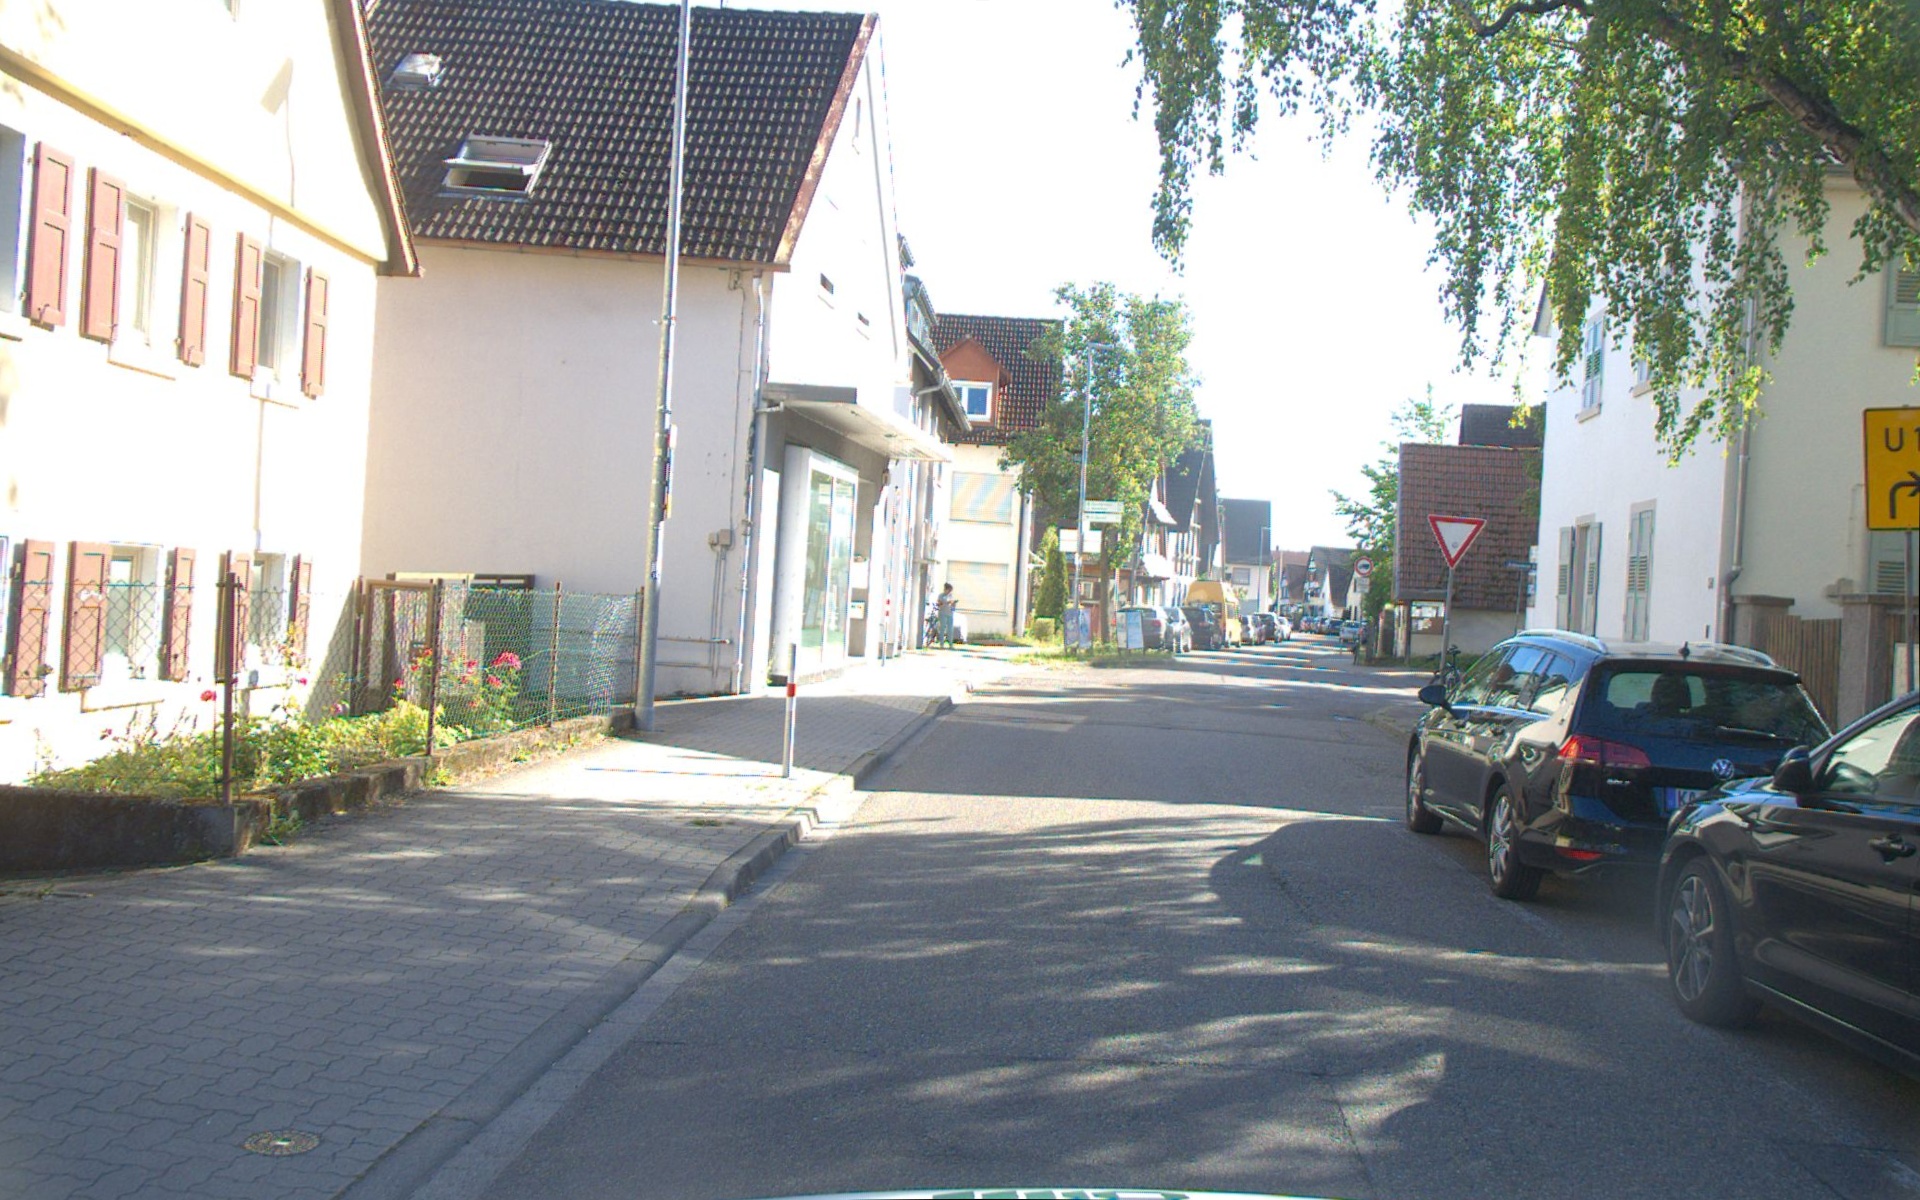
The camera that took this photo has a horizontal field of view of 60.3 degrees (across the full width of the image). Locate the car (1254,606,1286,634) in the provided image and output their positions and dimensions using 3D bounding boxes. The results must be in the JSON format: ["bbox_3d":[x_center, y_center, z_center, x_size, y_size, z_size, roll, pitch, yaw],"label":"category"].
[{"bbox_3d":[17.371,1.116,92.602,1.554,1.467,3.617,4,0,12],"label":"car"}]

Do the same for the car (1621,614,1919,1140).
[{"bbox_3d":[3.697,0.876,4.992,1.770,1.461,4.287,3,1,2],"label":"car"}]

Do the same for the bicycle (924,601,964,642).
[{"bbox_3d":[-0.426,0.602,45.014,0.566,1.070,2.037,3,-1,13],"label":"bicycle"}]

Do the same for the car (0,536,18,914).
[{"bbox_3d":[-5.808,0.475,5.667,4.073,1.487,1.848,1,1,0],"label":"car"}]

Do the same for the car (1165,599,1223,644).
[{"bbox_3d":[9.353,0.861,65.832,1.768,1.650,3.883,3,0,15],"label":"car"}]

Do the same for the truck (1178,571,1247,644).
[{"bbox_3d":[10.930,0.354,71.187,2.220,2.918,5.786,3,0,15],"label":"truck"}]

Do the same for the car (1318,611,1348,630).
[{"bbox_3d":[35.482,1.965,157.378,1.933,1.610,3.995,4,0,1],"label":"car"}]

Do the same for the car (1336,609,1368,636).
[{"bbox_3d":[27.337,1.564,115.371,1.931,1.743,3.998,4,0,12],"label":"car"}]

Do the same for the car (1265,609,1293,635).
[{"bbox_3d":[19.239,1.322,99.633,1.554,1.467,3.617,4,0,12],"label":"car"}]

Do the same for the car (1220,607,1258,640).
[{"bbox_3d":[13.495,1.123,79.857,1.610,1.457,3.617,4,0,12],"label":"car"}]

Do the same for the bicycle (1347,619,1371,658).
[{"bbox_3d":[12.838,1.224,53.233,0.424,1.197,1.828,3,0,22],"label":"bicycle"}]

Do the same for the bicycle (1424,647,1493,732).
[{"bbox_3d":[7.133,1.260,23.730,0.426,1.098,1.890,2,0,2],"label":"bicycle"}]

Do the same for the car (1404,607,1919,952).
[{"bbox_3d":[3.963,0.854,9.995,1.769,1.461,4.289,3,1,6],"label":"car"}]

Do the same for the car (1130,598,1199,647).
[{"bbox_3d":[7.110,0.771,57.177,1.768,1.532,4.110,3,0,15],"label":"car"}]

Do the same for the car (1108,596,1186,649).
[{"bbox_3d":[6.016,0.723,52.920,1.828,1.532,4.110,3,0,15],"label":"car"}]

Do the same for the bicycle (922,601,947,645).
[{"bbox_3d":[-0.639,0.573,41.599,0.414,1.070,1.382,3,-1,6],"label":"bicycle"}]

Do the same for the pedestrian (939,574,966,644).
[{"bbox_3d":[-0.192,0.243,41.716,0.473,1.722,0.557,3,-2,10],"label":"pedestrian"}]
